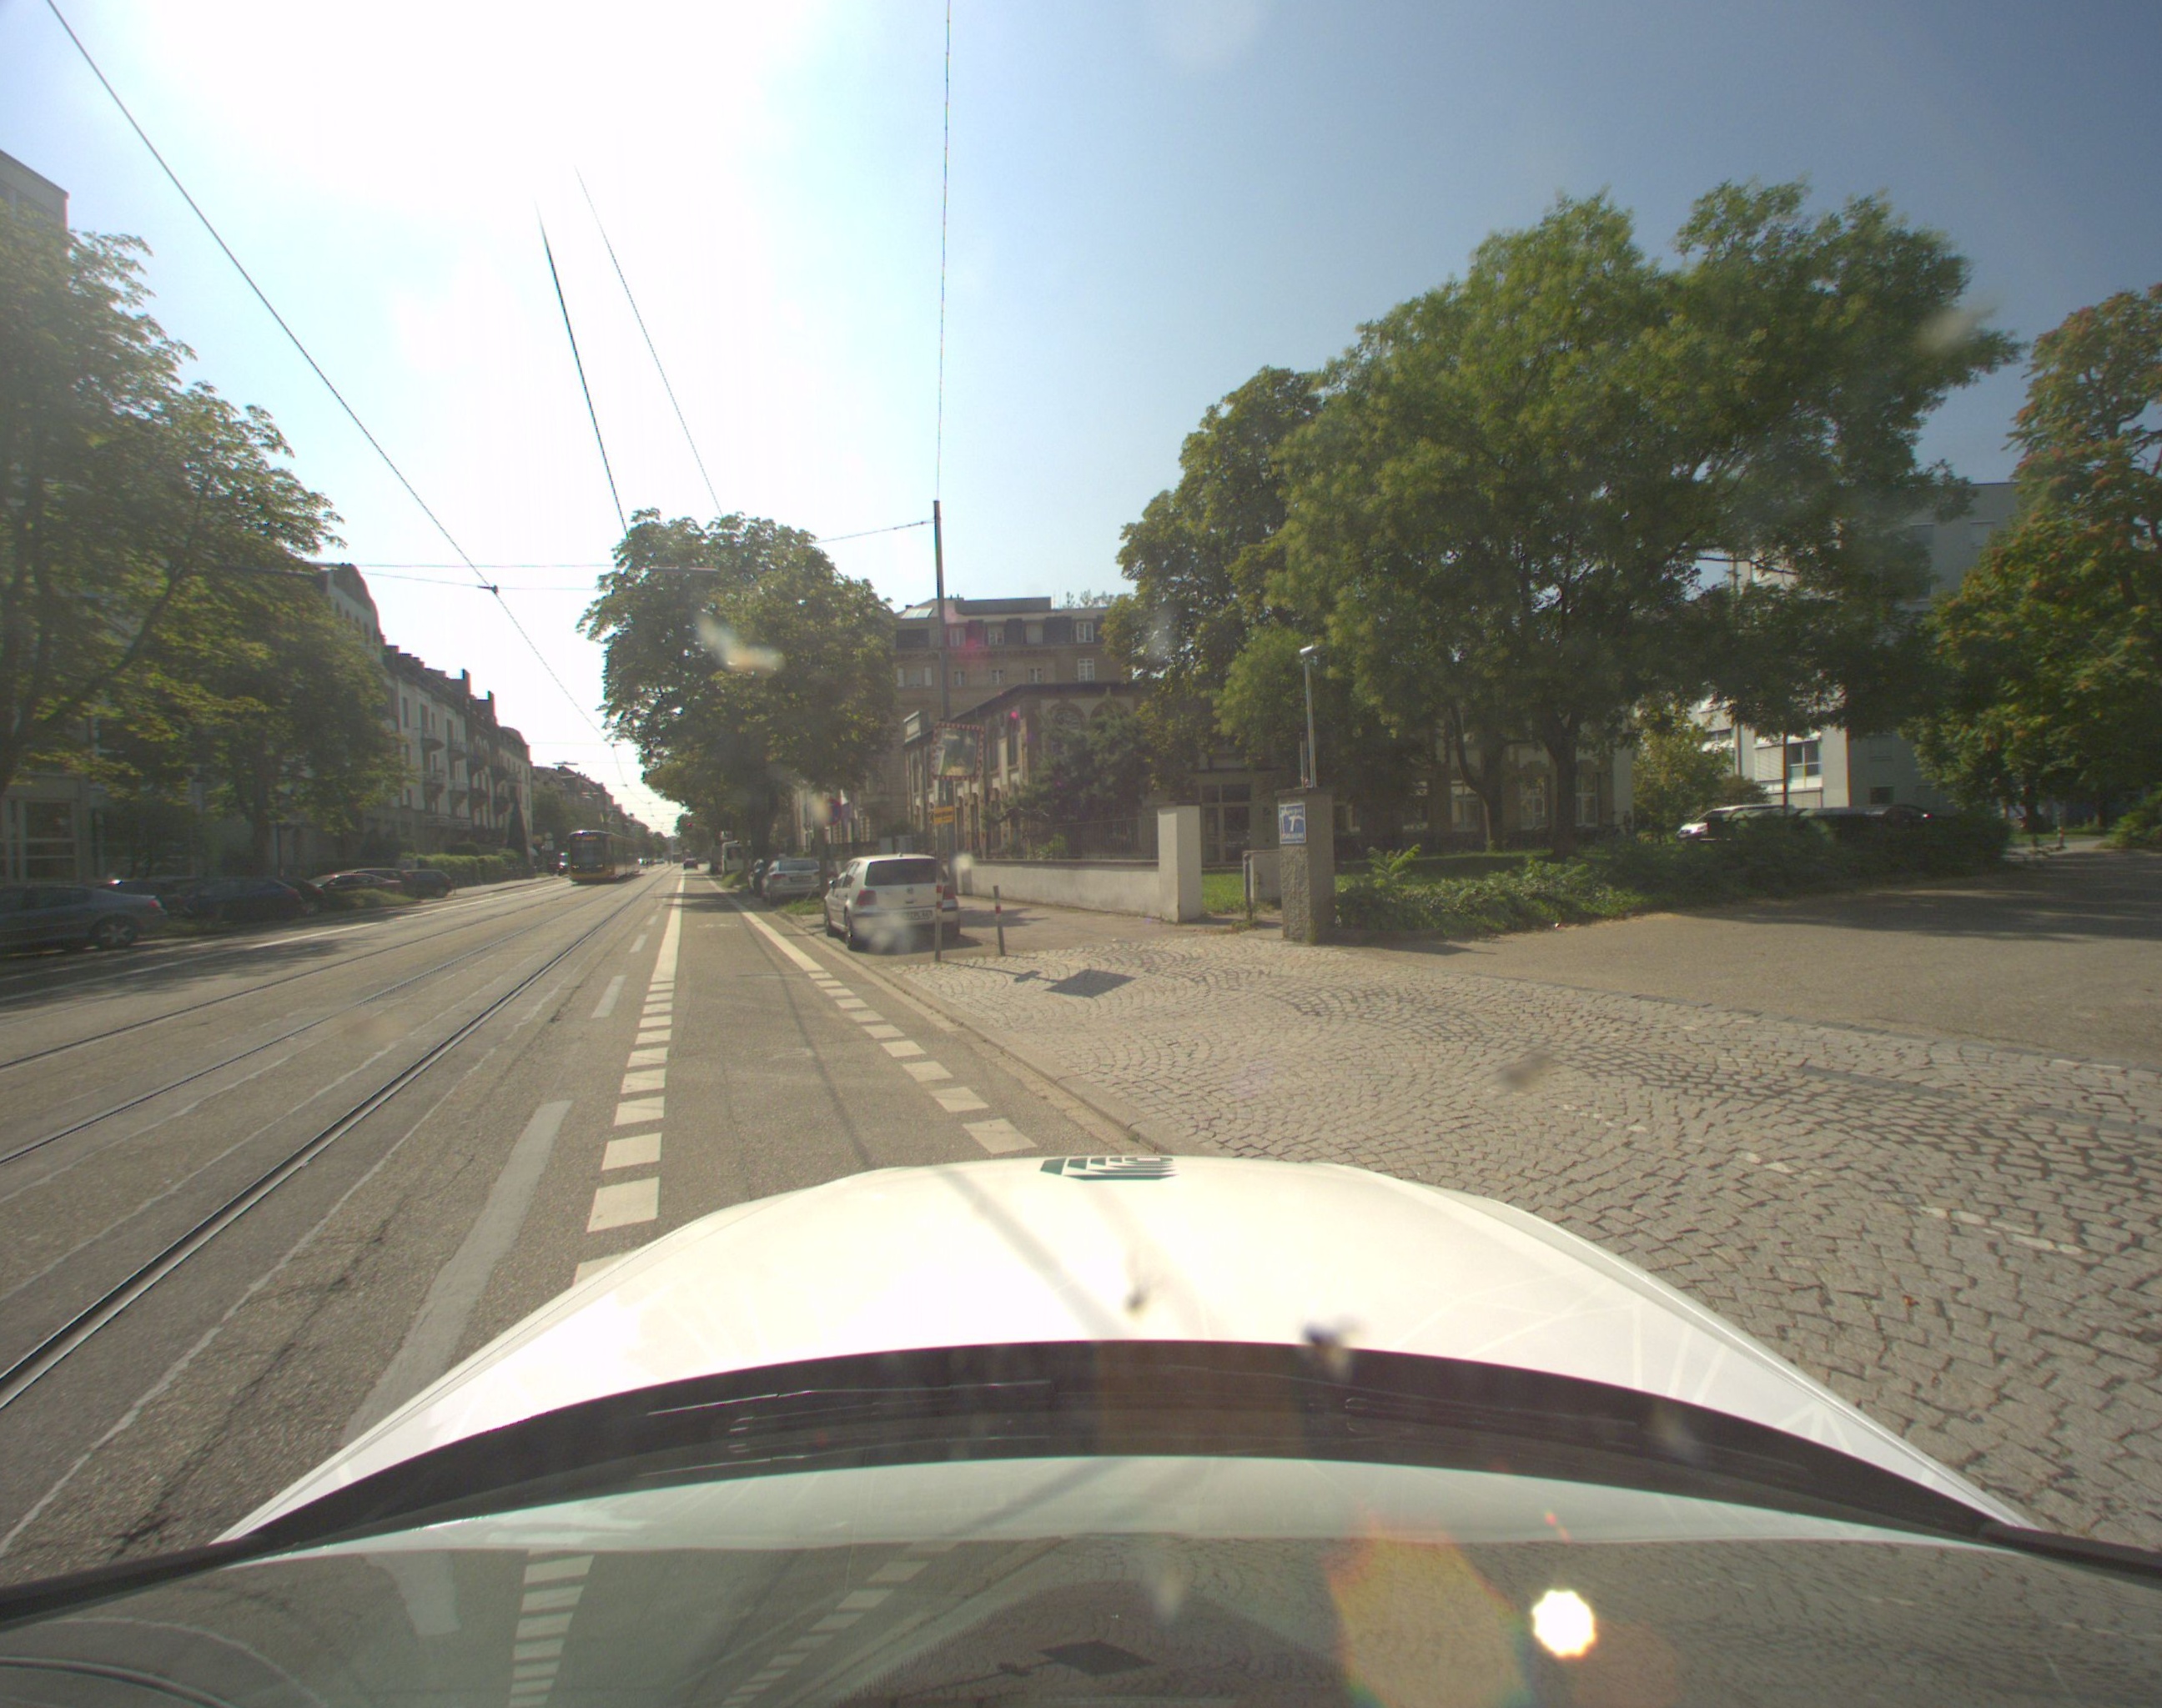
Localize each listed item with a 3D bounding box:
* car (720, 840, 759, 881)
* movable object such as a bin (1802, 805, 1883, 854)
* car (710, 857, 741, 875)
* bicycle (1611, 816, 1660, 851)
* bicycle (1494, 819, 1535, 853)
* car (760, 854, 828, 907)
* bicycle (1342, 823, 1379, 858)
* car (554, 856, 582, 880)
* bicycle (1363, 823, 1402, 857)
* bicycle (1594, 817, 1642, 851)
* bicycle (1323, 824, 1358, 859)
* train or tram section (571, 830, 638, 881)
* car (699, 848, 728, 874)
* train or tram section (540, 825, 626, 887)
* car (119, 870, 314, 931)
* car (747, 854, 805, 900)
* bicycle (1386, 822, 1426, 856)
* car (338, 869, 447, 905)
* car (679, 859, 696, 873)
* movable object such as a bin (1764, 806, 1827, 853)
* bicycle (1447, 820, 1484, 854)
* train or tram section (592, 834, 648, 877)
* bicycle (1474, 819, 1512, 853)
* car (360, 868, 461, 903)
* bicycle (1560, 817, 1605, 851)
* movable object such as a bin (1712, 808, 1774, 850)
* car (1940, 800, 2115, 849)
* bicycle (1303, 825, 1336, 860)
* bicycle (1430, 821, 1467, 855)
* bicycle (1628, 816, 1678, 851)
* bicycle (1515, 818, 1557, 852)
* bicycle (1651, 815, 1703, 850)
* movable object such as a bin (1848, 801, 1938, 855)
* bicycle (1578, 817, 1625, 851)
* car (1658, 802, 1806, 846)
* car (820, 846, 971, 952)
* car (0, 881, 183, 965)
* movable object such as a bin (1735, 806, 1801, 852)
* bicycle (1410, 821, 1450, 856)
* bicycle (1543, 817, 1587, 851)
[{"bbox_3d":[-21.250,0.409,50.558,2.004,2.365,3.966,-1,0,-25],"label":"car"},{"bbox_3d":[23.489,-0.757,25.152,1.244,1.431,1.330,-2,1,-5],"label":"movable object such as a bin"},{"bbox_3d":[-29.905,1.007,68.412,2.005,1.398,3.963,-2,1,-28],"label":"car"},{"bbox_3d":[22.077,-0.800,32.487,0.604,1.302,2.177,-2,0,5],"label":"bicycle"},{"bbox_3d":[17.312,-0.701,32.569,0.604,1.302,2.177,-2,0,5],"label":"bicycle"},{"bbox_3d":[-9.158,0.807,25.855,1.649,1.511,3.610,-2,0,-25],"label":"car"},{"bbox_3d":[11.076,-0.516,32.387,0.766,1.302,2.530,-2,0,5],"label":"bicycle"},{"bbox_3d":[-55.739,1.521,88.527,2.256,2.441,3.962,-2,0,-29],"label":"car"},{"bbox_3d":[11.982,-0.544,32.461,0.766,1.302,2.530,-2,0,5],"label":"bicycle"},{"bbox_3d":[21.394,-0.770,32.508,0.604,1.302,2.177,-2,0,5],"label":"bicycle"},{"bbox_3d":[10.268,-0.482,32.276,0.766,1.302,2.530,-2,0,5],"label":"bicycle"},{"bbox_3d":[-38.923,0.103,66.966,3.514,3.704,12.310,-2,1,-25],"label":"train or tram section"},{"bbox_3d":[-33.600,0.631,74.412,2.006,2.233,3.961,-2,1,-30],"label":"car"},{"bbox_3d":[-33.765,0.088,55.739,3.514,3.704,12.310,-2,1,-25],"label":"train or tram section"},{"bbox_3d":[-25.699,1.325,24.351,1.656,1.574,3.607,-2,0,23],"label":"car"},{"bbox_3d":[-11.671,0.816,30.999,1.802,1.577,3.968,-2,1,-24],"label":"car"},{"bbox_3d":[13.016,-0.570,32.714,0.766,1.302,2.530,-2,0,5],"label":"bicycle"},{"bbox_3d":[-33.059,1.555,39.211,1.656,1.574,3.607,-2,0,23],"label":"car"},{"bbox_3d":[-52.611,1.545,108.896,2.004,1.801,3.966,-1,0,-25],"label":"car"},{"bbox_3d":[23.111,-0.793,26.362,1.096,1.481,1.100,-2,1,-5],"label":"movable object such as a bin"},{"bbox_3d":[15.407,-0.645,32.722,0.604,1.302,2.177,-2,0,5],"label":"bicycle"},{"bbox_3d":[-44.047,0.115,78.153,3.514,3.704,12.310,-2,1,-25],"label":"train or tram section"},{"bbox_3d":[16.562,-0.693,32.790,0.604,1.302,2.177,-2,0,5],"label":"bicycle"},{"bbox_3d":[-34.364,1.597,41.815,1.656,1.574,3.607,-2,0,23],"label":"car"},{"bbox_3d":[20.036,-0.785,32.581,0.604,1.302,2.177,-2,0,5],"label":"bicycle"},{"bbox_3d":[23.979,-0.892,29.514,1.243,1.444,1.205,-2,1,-5],"label":"movable object such as a bin"},{"bbox_3d":[33.374,-1.025,28.812,3.878,1.527,1.711,-2,1,7],"label":"car"},{"bbox_3d":[9.477,-0.453,32.459,0.766,1.302,2.530,-2,0,5],"label":"bicycle"},{"bbox_3d":[14.750,-0.631,32.721,0.622,1.302,2.276,-2,0,5],"label":"bicycle"},{"bbox_3d":[22.756,-0.798,32.451,0.604,1.302,2.177,-2,0,5],"label":"bicycle"},{"bbox_3d":[18.176,-0.742,32.567,0.604,1.302,2.177,-2,0,5],"label":"bicycle"},{"bbox_3d":[23.571,-0.824,32.240,0.604,1.302,2.177,-2,0,5],"label":"bicycle"},{"bbox_3d":[23.459,-0.745,23.557,1.333,1.493,1.367,-2,1,-13],"label":"movable object such as a bin"},{"bbox_3d":[20.706,-0.779,32.440,0.604,1.302,2.177,-2,0,5],"label":"bicycle"},{"bbox_3d":[31.171,-1.398,39.166,5.045,1.881,2.505,-2,1,4],"label":"car"},{"bbox_3d":[-3.271,0.662,13.805,1.799,1.445,3.704,-3,1,-23],"label":"car"},{"bbox_3d":[-21.498,1.430,16.088,1.658,1.451,4.711,-2,2,18],"label":"car"},{"bbox_3d":[23.435,-0.851,27.798,1.243,1.495,1.205,-2,1,-5],"label":"movable object such as a bin"},{"bbox_3d":[13.972,-0.607,32.688,0.766,1.302,2.276,-2,0,5],"label":"bicycle"},{"bbox_3d":[19.270,-0.777,32.473,0.604,1.302,2.177,-2,0,5],"label":"bicycle"}]
